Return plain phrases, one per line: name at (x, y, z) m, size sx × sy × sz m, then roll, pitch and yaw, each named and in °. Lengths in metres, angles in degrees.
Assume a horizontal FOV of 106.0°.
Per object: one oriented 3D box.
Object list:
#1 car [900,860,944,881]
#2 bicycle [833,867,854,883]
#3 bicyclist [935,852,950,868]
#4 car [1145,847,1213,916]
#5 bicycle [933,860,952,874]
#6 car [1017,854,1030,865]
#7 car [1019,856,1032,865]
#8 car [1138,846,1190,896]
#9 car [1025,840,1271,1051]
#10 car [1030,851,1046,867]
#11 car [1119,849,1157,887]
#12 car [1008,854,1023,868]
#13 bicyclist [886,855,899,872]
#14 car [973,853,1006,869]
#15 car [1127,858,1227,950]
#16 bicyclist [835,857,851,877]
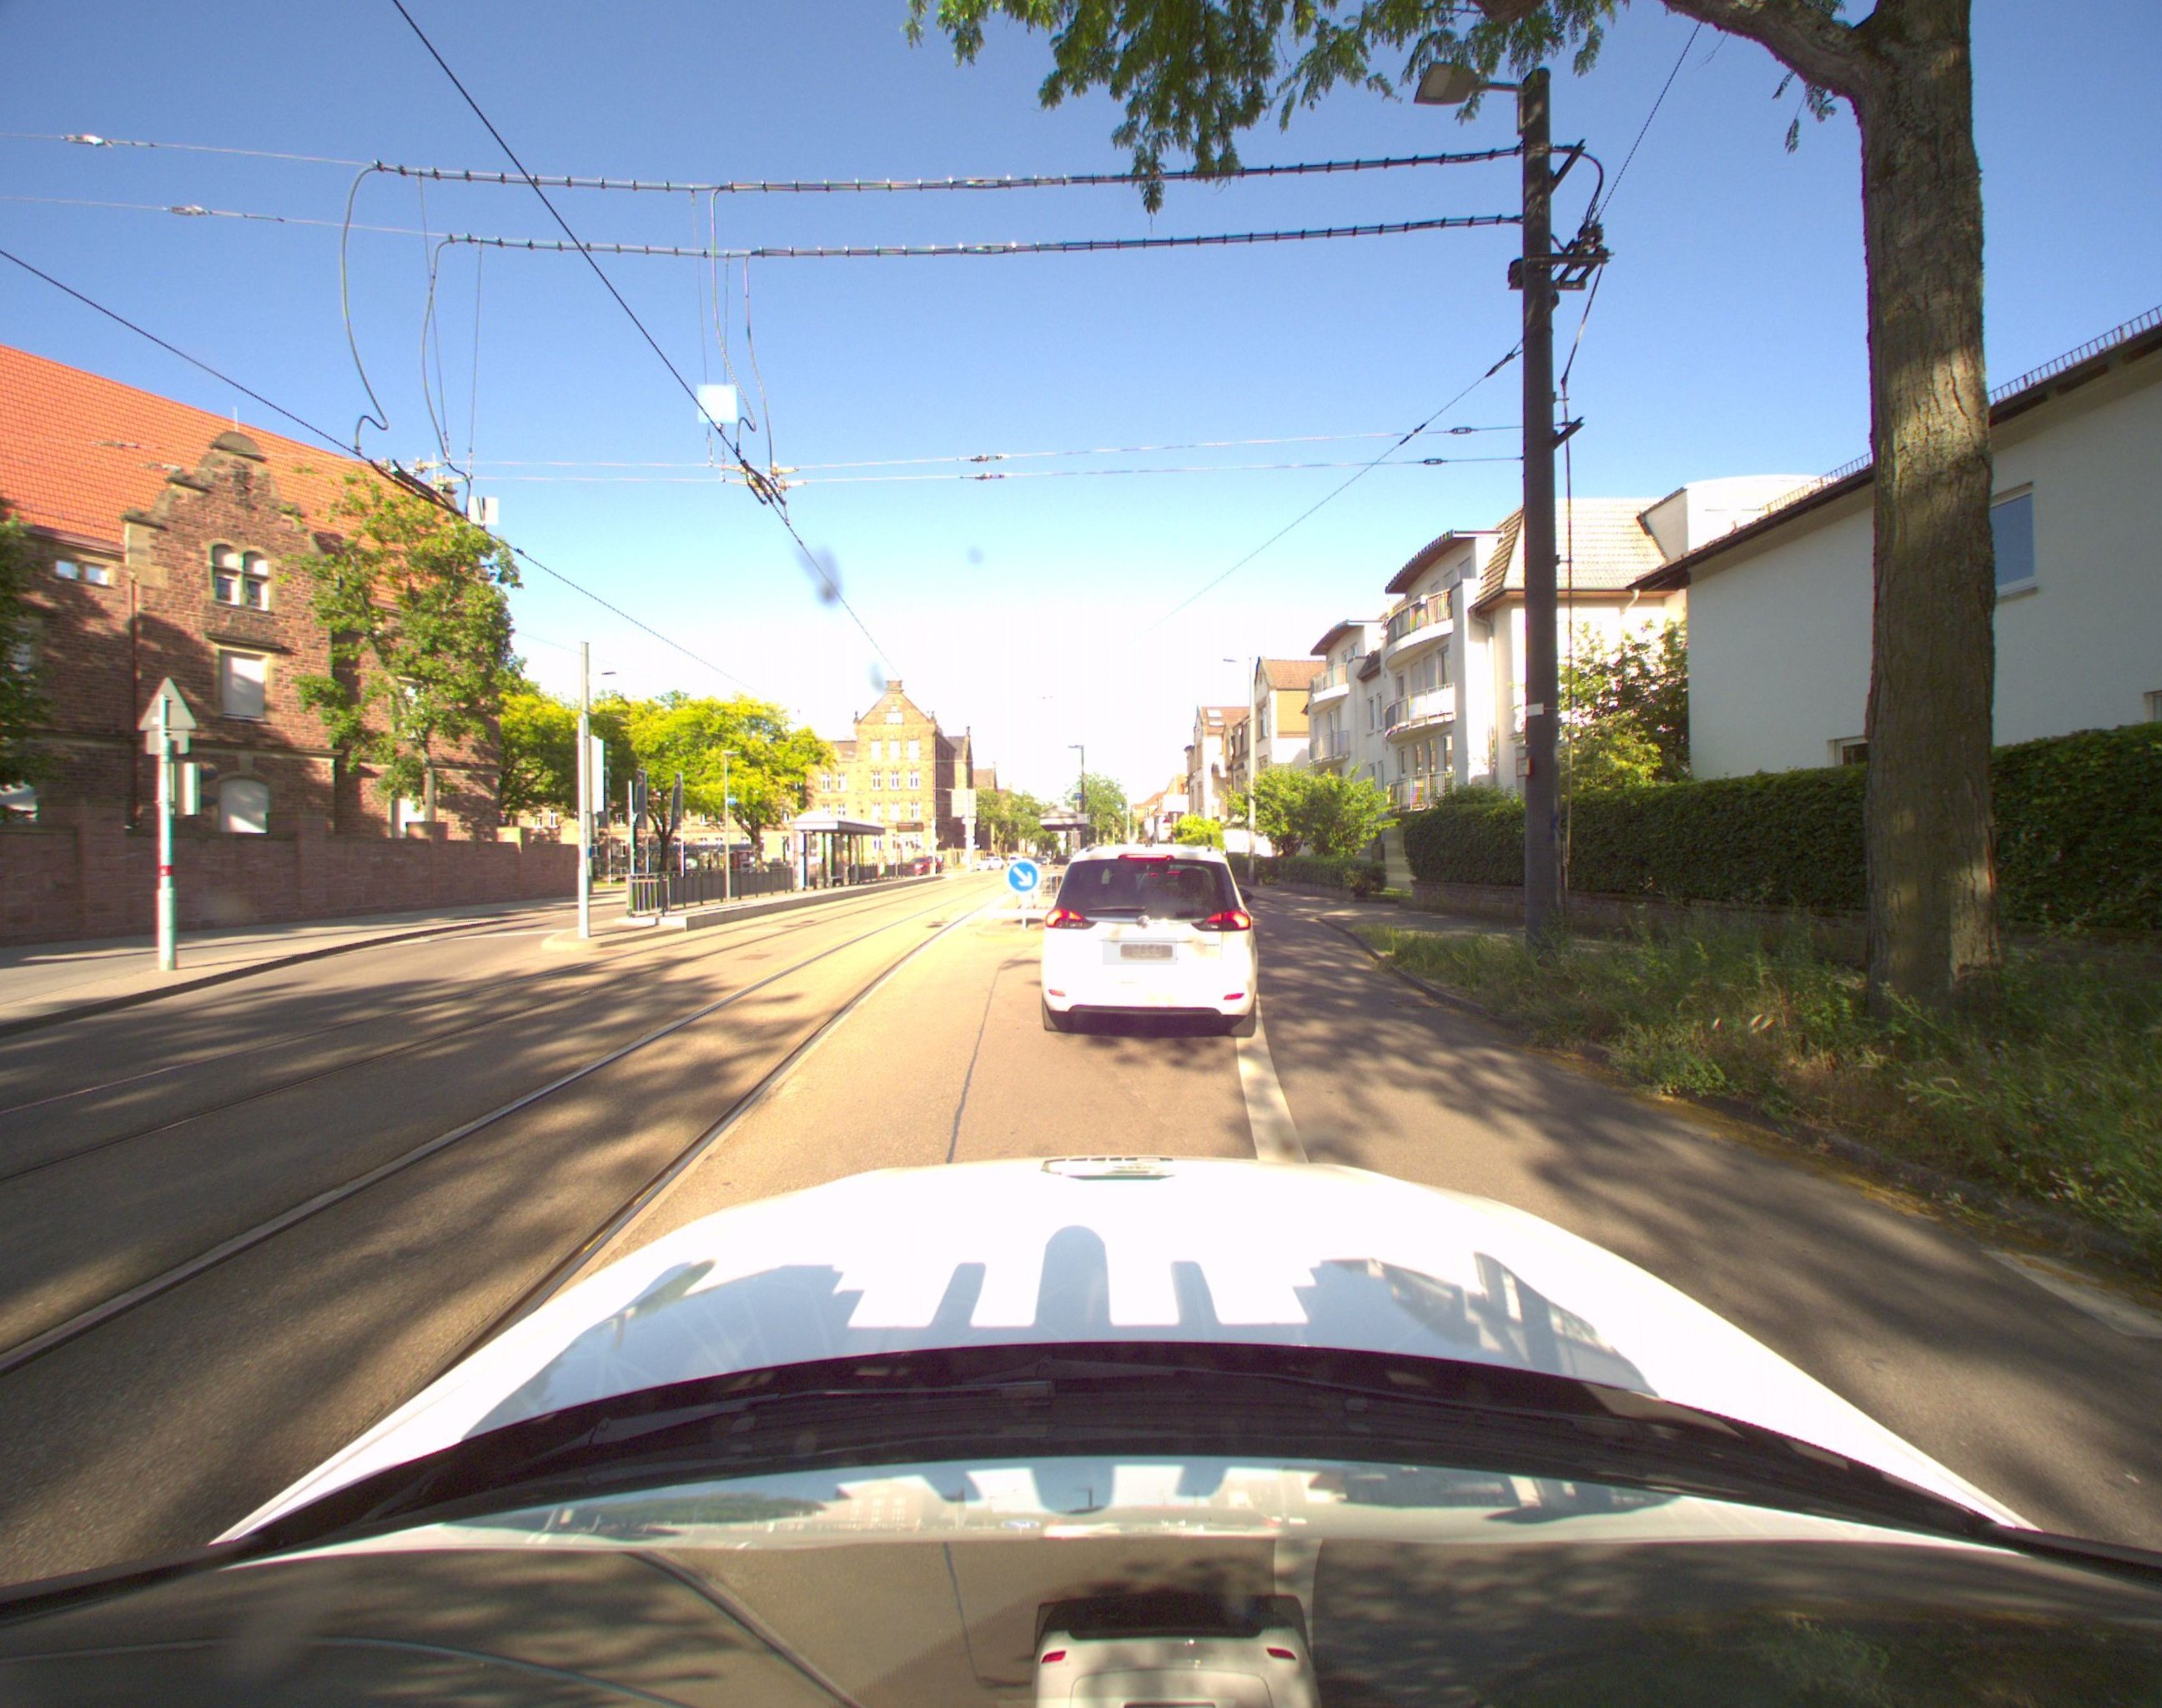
car at (-13.234, 1.344, 67.923) m, size 1.804 × 1.607 × 4.377 m, roll -1°, pitch 0°, yaw 15°
bicycle at (-16.941, 1.464, 58.097) m, size 0.681 × 1.089 × 2.067 m, roll -1°, pitch 0°, yaw 7°
bicyclist at (-13.403, 0.551, 78.705) m, size 0.754 × 1.536 × 1.355 m, roll -2°, pitch -1°, yaw 23°
car at (2.560, 0.645, 21.110) m, size 1.560 × 1.614 × 3.792 m, roll 1°, pitch 0°, yaw 7°
bicycle at (-13.380, 1.245, 78.667) m, size 0.770 × 1.231 × 2.100 m, roll -1°, pitch 0°, yaw 24°
car at (-8.616, 0.878, 122.552) m, size 1.822 × 1.617 × 4.325 m, roll -1°, pitch -1°, yaw -1°
car at (-8.981, 1.023, 131.305) m, size 1.821 × 1.446 × 4.325 m, roll -1°, pitch -1°, yaw -1°
car at (2.913, 0.578, 29.244) m, size 1.590 × 1.635 × 3.903 m, roll 1°, pitch 0°, yaw 2°
car at (0.758, 0.678, 8.200) m, size 1.868 × 1.585 × 4.008 m, roll 0°, pitch 0°, yaw 7°
car at (-5.525, 0.602, 105.652) m, size 1.989 × 2.013 × 3.996 m, roll -1°, pitch 0°, yaw -3°
car at (2.531, 0.626, 36.871) m, size 1.590 × 1.635 × 3.902 m, roll 0°, pitch -1°, yaw 2°
car at (-8.512, 0.899, 105.183) m, size 1.825 × 1.788 × 4.245 m, roll -1°, pitch 0°, yaw -6°
bicyclist at (-16.559, 0.820, 71.455) m, size 0.752 × 1.470 × 1.192 m, roll -2°, pitch 0°, yaw 6°
car at (-10.785, 0.788, 96.425) m, size 1.681 × 1.809 × 4.026 m, roll -1°, pitch 0°, yaw 34°
car at (1.772, 0.806, 14.872) m, size 1.560 × 1.401 × 3.792 m, roll 1°, pitch 0°, yaw 7°
bicyclist at (-16.952, 0.924, 58.102) m, size 0.649 × 1.459 × 1.154 m, roll -1°, pitch 0°, yaw 7°
